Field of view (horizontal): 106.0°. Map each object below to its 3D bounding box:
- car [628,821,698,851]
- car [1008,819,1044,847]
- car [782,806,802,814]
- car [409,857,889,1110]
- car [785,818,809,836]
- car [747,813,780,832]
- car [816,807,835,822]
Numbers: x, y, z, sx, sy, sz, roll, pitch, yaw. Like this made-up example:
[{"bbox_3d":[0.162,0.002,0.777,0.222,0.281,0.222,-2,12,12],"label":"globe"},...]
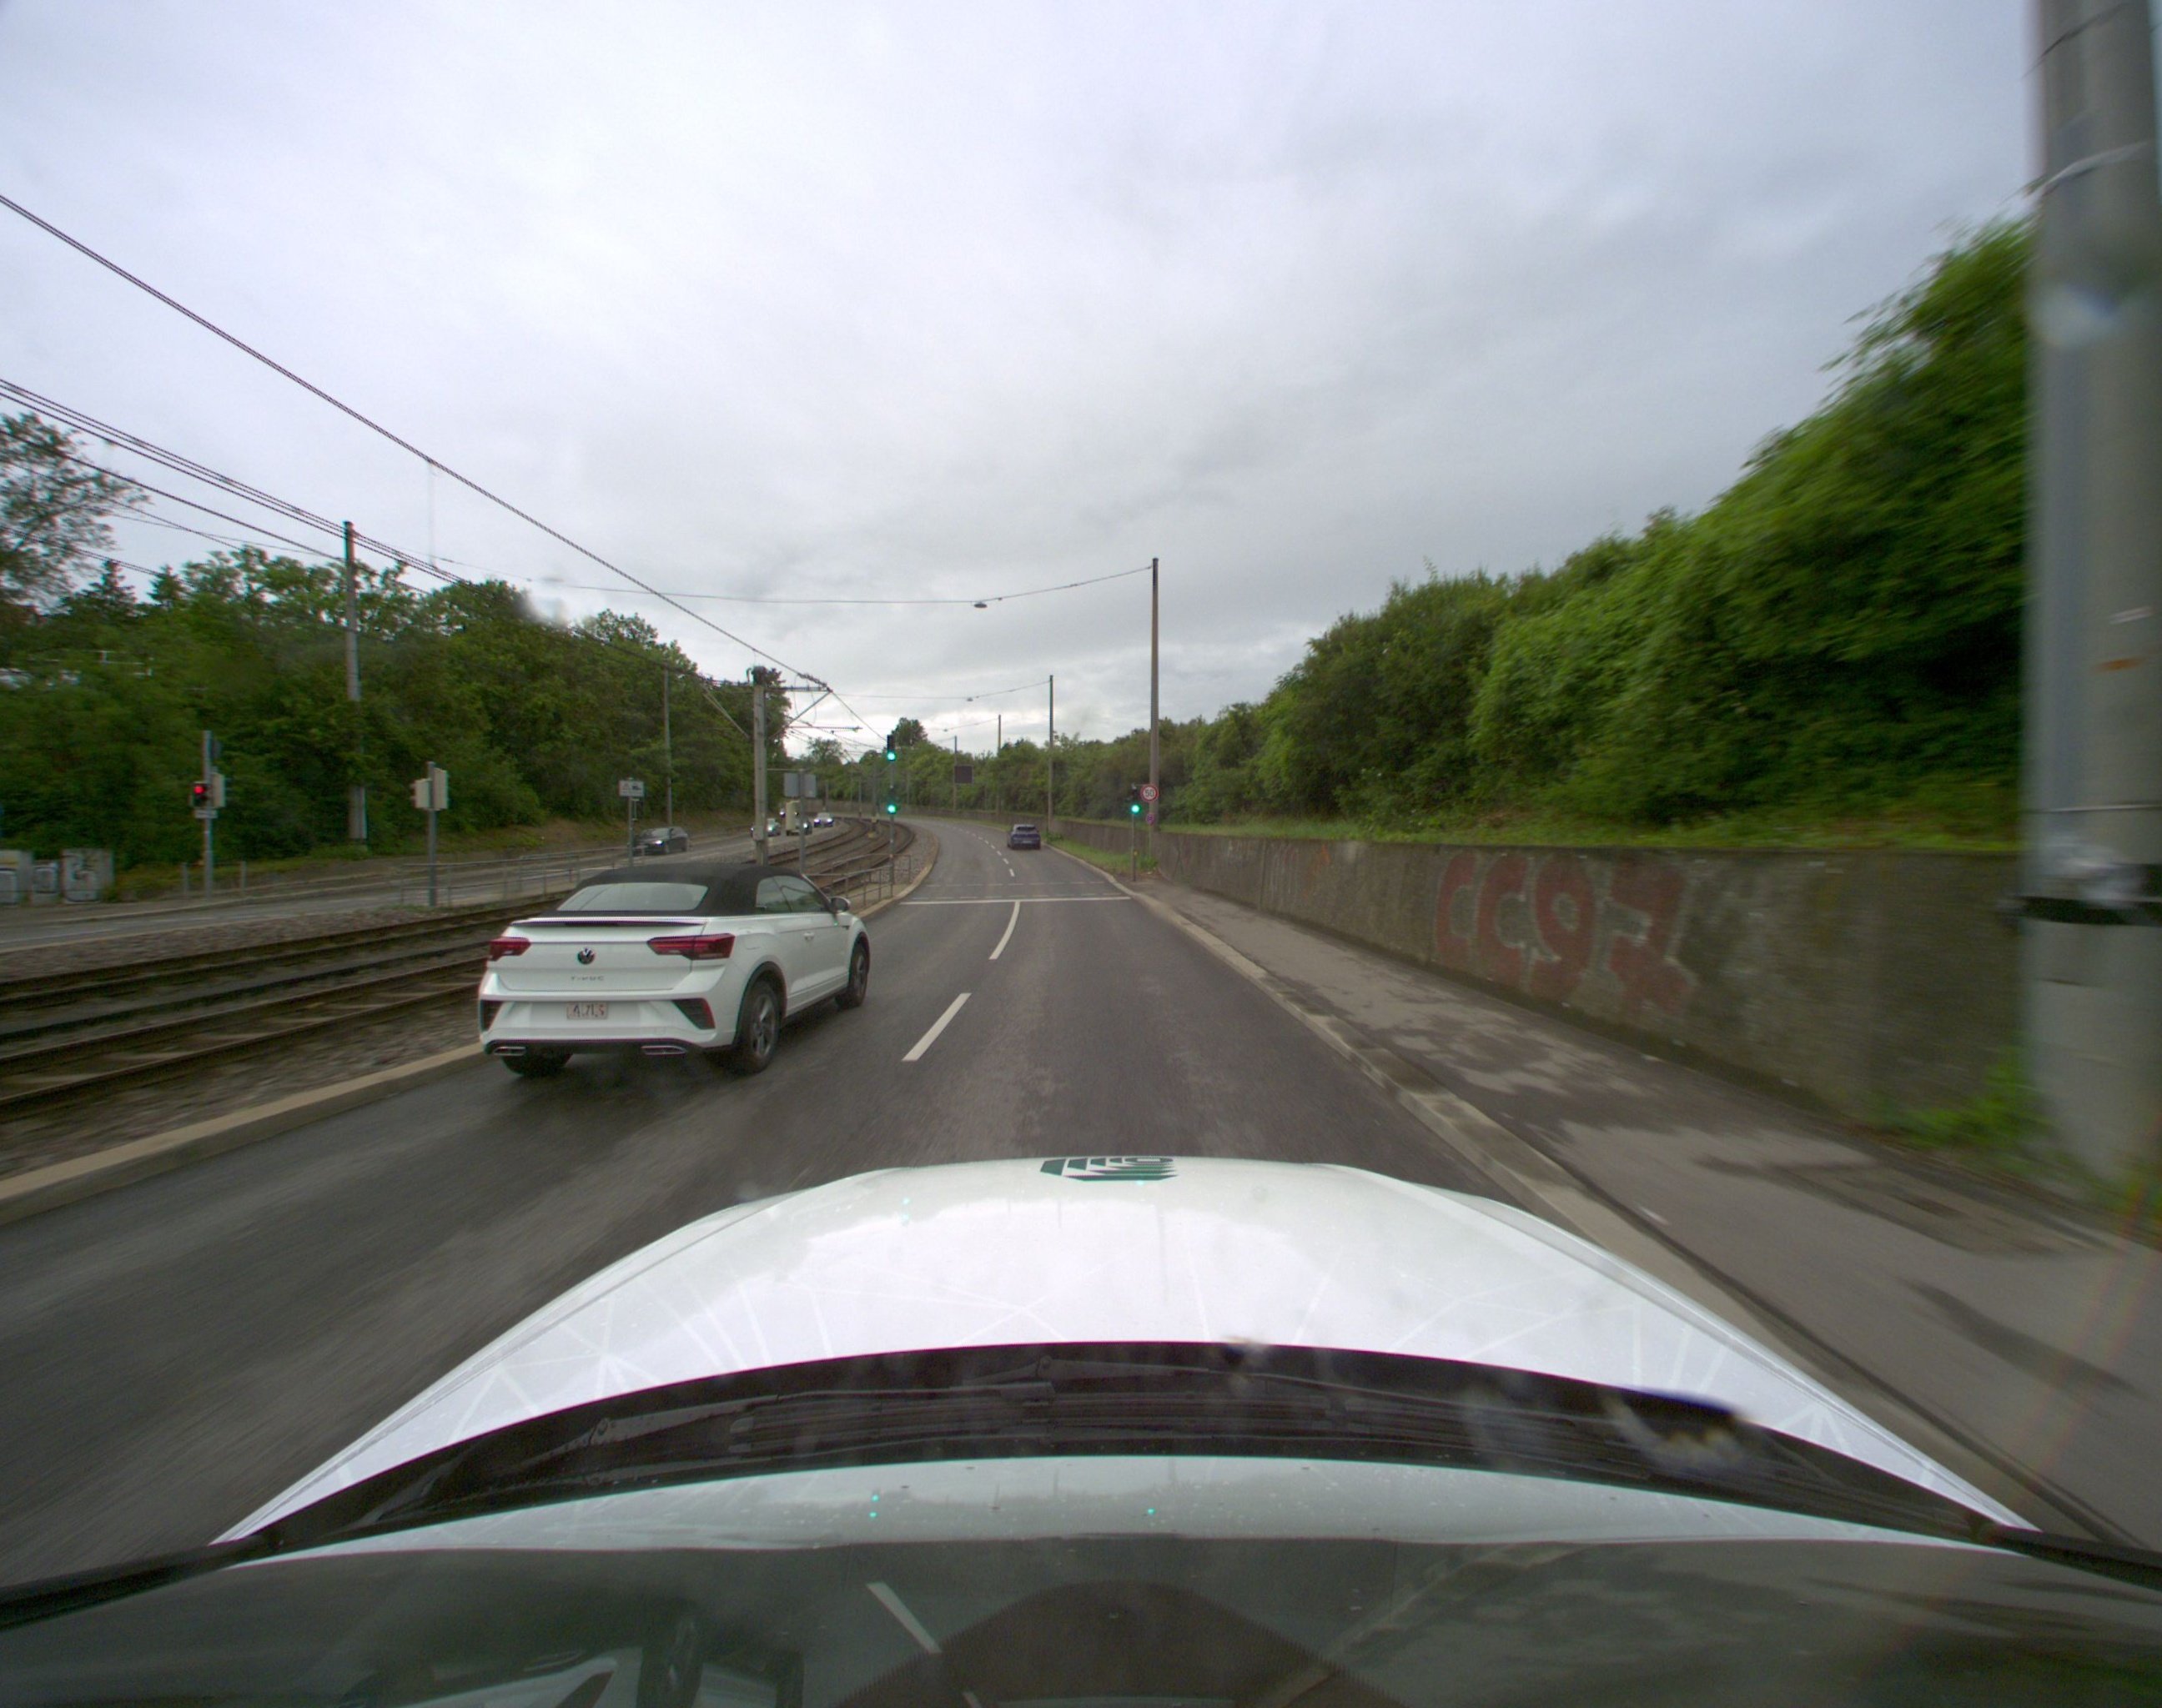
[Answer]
[{"bbox_3d":[-21.836,-0.974,42.724,1.713,1.458,4.268,-1,3,-6],"label":"car"},{"bbox_3d":[-3.337,-1.287,49.090,1.763,1.500,3.988,0,4,-10],"label":"car"},{"bbox_3d":[-49.400,-7.486,139.087,1.721,1.414,3.984,-3,5,-43],"label":"car"},{"bbox_3d":[-3.206,0.808,7.311,1.865,1.524,4.539,-1,0,0],"label":"car"},{"bbox_3d":[-23.257,-2.250,66.820,1.636,1.384,3.873,-3,3,-17],"label":"car"},{"bbox_3d":[-25.586,-2.581,65.758,1.822,1.379,4.684,-2,4,-14],"label":"car"},{"bbox_3d":[-27.854,-4.336,88.775,1.866,1.438,4.830,-3,5,-16],"label":"car"}]
